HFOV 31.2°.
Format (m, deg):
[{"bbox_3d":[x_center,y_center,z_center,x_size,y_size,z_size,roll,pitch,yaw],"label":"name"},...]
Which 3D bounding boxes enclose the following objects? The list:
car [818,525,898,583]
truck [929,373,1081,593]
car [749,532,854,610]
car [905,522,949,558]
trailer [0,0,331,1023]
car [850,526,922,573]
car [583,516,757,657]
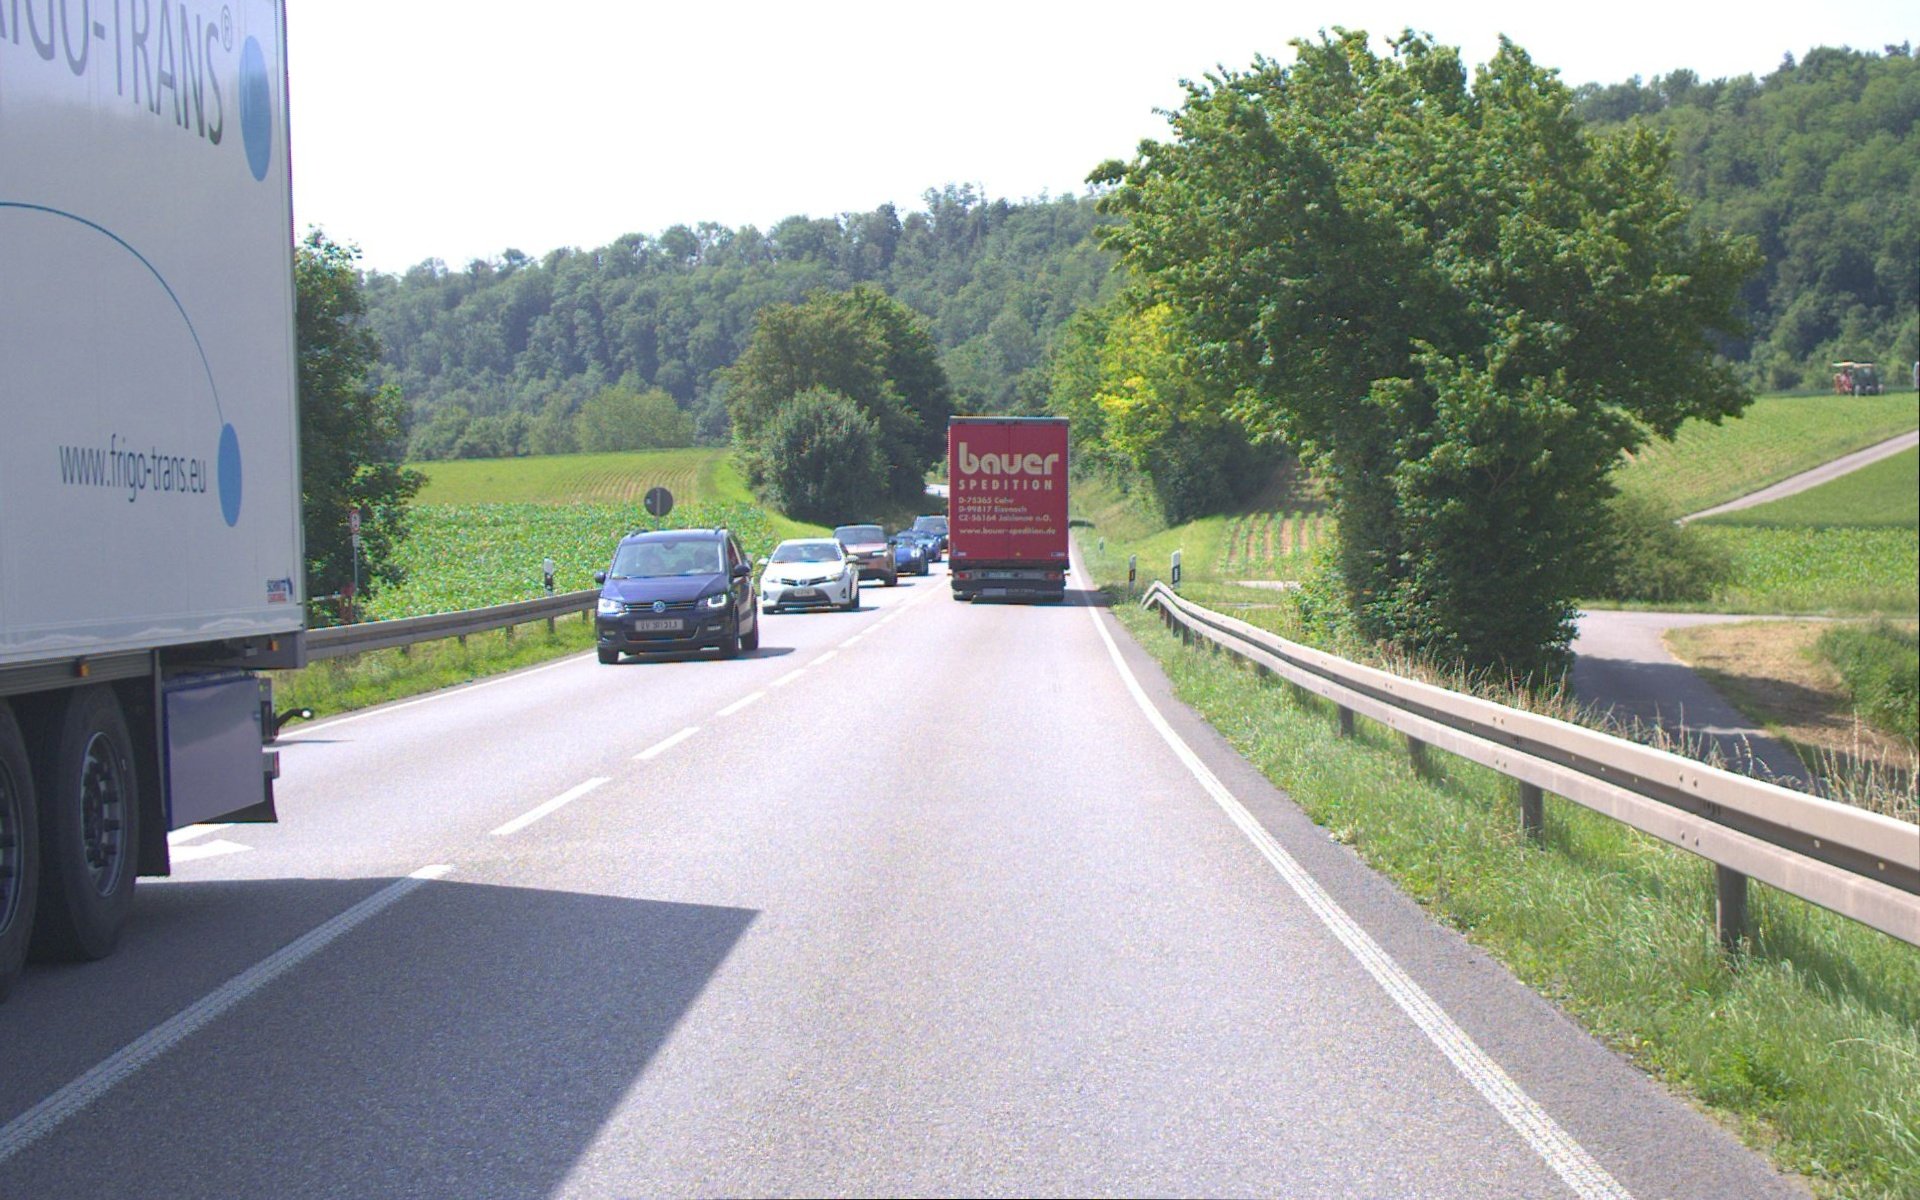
[{"bbox_3d":[-2.723,-1.261,92.793,1.913,1.469,3.874,-1,1,2],"label":"car"},{"bbox_3d":[1.003,-2.642,79.031,3.172,4.609,13.544,0,2,0],"label":"truck"},{"bbox_3d":[-3.126,-0.599,68.308,1.731,1.429,3.916,-3,1,2],"label":"car"},{"bbox_3d":[-1.429,-2.650,150.355,1.808,1.481,4.000,-1,2,1],"label":"car"},{"bbox_3d":[-4.333,-0.667,8.861,2.507,4.105,13.899,-2,1,1],"label":"trailer"},{"bbox_3d":[-2.280,-1.590,106.871,1.993,1.337,4.000,-1,2,2],"label":"car"},{"bbox_3d":[-3.804,-0.220,45.767,1.829,1.716,4.363,-2,1,1],"label":"car"}]
